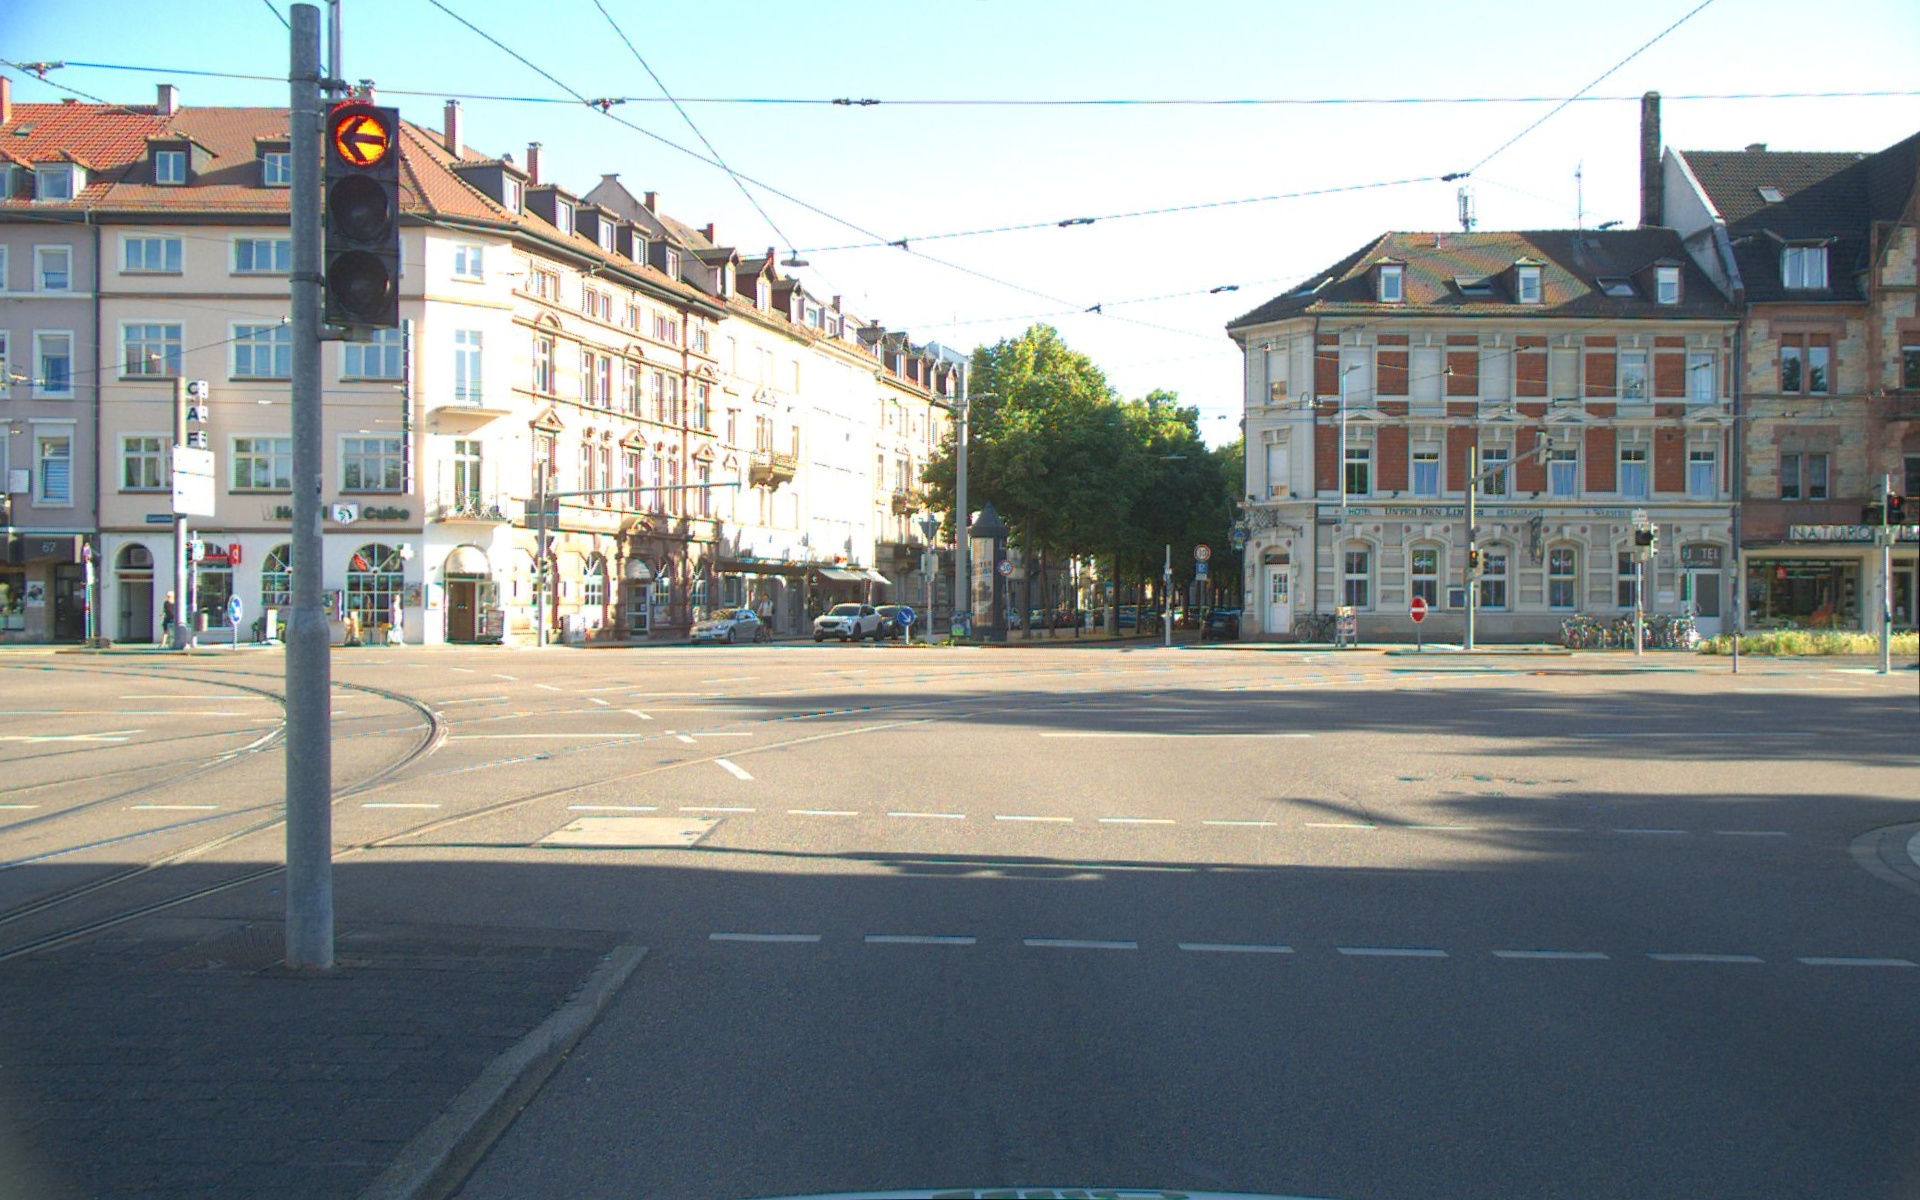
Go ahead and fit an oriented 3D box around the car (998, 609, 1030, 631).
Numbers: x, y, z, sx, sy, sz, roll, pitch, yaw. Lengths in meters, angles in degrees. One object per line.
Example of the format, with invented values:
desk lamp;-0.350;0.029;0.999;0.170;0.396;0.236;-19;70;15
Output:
car;3.803;1.357;115.840;1.704;1.422;4.127;3;0;9

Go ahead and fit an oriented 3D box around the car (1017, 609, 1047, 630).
car;5.334;1.414;122.840;1.704;1.422;4.127;3;0;9

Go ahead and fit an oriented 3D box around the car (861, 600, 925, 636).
car;-2.961;0.796;73.472;1.951;1.540;4.004;0;0;11

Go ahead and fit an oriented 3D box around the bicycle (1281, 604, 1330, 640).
bicycle;11.973;0.762;57.302;1.603;1.243;0.607;0;0;16

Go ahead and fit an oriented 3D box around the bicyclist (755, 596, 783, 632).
bicyclist;-7.562;0.542;65.464;0.776;1.399;1.109;0;0;14

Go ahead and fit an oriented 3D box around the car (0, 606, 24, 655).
car;-32.065;0.996;52.155;3.910;1.489;1.998;-1;1;-6

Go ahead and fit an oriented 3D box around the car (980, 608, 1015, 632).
car;2.525;1.310;110.016;1.704;1.422;4.127;3;0;9

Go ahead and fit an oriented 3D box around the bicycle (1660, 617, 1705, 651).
bicycle;23.327;1.083;53.422;0.593;1.069;1.641;0;0;-6

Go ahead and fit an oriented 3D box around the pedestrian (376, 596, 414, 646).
pedestrian;-18.647;0.694;54.623;1.045;1.618;1.040;0;0;-10

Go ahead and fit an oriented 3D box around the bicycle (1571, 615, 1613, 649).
bicycle;20.463;1.035;53.567;0.593;1.069;1.641;0;0;-6

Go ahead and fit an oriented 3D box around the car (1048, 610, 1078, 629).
car;8.243;1.538;131.706;1.704;1.422;4.127;3;0;13

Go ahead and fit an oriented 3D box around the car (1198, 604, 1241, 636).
car;12.972;1.002;82.465;1.616;1.551;3.755;0;-1;17

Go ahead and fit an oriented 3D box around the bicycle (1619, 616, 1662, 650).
bicycle;21.941;1.059;53.325;0.593;1.069;1.641;0;0;-6

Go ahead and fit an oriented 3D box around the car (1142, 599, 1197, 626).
car;16.957;1.014;133.664;4.026;1.952;1.746;3;0;21

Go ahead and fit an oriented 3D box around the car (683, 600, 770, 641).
car;-9.453;0.811;67.220;2.052;1.572;4.367;0;0;13

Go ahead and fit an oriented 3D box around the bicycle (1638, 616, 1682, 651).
bicycle;22.602;1.071;53.401;0.593;1.069;1.641;0;0;-6

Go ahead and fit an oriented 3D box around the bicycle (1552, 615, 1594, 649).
bicycle;19.823;1.023;53.511;0.593;1.069;1.641;0;0;-6

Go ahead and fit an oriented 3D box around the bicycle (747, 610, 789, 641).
bicycle;-7.576;0.993;65.495;0.734;1.155;2.812;0;0;14

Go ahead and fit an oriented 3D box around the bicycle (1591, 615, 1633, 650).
bicycle;21.115;1.046;53.593;0.593;1.069;1.641;0;0;-6

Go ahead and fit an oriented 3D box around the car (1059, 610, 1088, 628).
car;9.421;1.575;136.502;1.704;1.422;4.127;3;0;13

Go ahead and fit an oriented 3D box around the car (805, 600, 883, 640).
car;-4.654;0.788;67.079;2.052;1.525;4.003;0;0;13

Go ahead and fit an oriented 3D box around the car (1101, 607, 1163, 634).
car;12.004;1.402;115.384;4.024;1.675;1.748;3;0;15

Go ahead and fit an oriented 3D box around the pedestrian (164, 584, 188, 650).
pedestrian;-24.669;0.537;52.035;0.498;2.049;0.505;0;0;2
